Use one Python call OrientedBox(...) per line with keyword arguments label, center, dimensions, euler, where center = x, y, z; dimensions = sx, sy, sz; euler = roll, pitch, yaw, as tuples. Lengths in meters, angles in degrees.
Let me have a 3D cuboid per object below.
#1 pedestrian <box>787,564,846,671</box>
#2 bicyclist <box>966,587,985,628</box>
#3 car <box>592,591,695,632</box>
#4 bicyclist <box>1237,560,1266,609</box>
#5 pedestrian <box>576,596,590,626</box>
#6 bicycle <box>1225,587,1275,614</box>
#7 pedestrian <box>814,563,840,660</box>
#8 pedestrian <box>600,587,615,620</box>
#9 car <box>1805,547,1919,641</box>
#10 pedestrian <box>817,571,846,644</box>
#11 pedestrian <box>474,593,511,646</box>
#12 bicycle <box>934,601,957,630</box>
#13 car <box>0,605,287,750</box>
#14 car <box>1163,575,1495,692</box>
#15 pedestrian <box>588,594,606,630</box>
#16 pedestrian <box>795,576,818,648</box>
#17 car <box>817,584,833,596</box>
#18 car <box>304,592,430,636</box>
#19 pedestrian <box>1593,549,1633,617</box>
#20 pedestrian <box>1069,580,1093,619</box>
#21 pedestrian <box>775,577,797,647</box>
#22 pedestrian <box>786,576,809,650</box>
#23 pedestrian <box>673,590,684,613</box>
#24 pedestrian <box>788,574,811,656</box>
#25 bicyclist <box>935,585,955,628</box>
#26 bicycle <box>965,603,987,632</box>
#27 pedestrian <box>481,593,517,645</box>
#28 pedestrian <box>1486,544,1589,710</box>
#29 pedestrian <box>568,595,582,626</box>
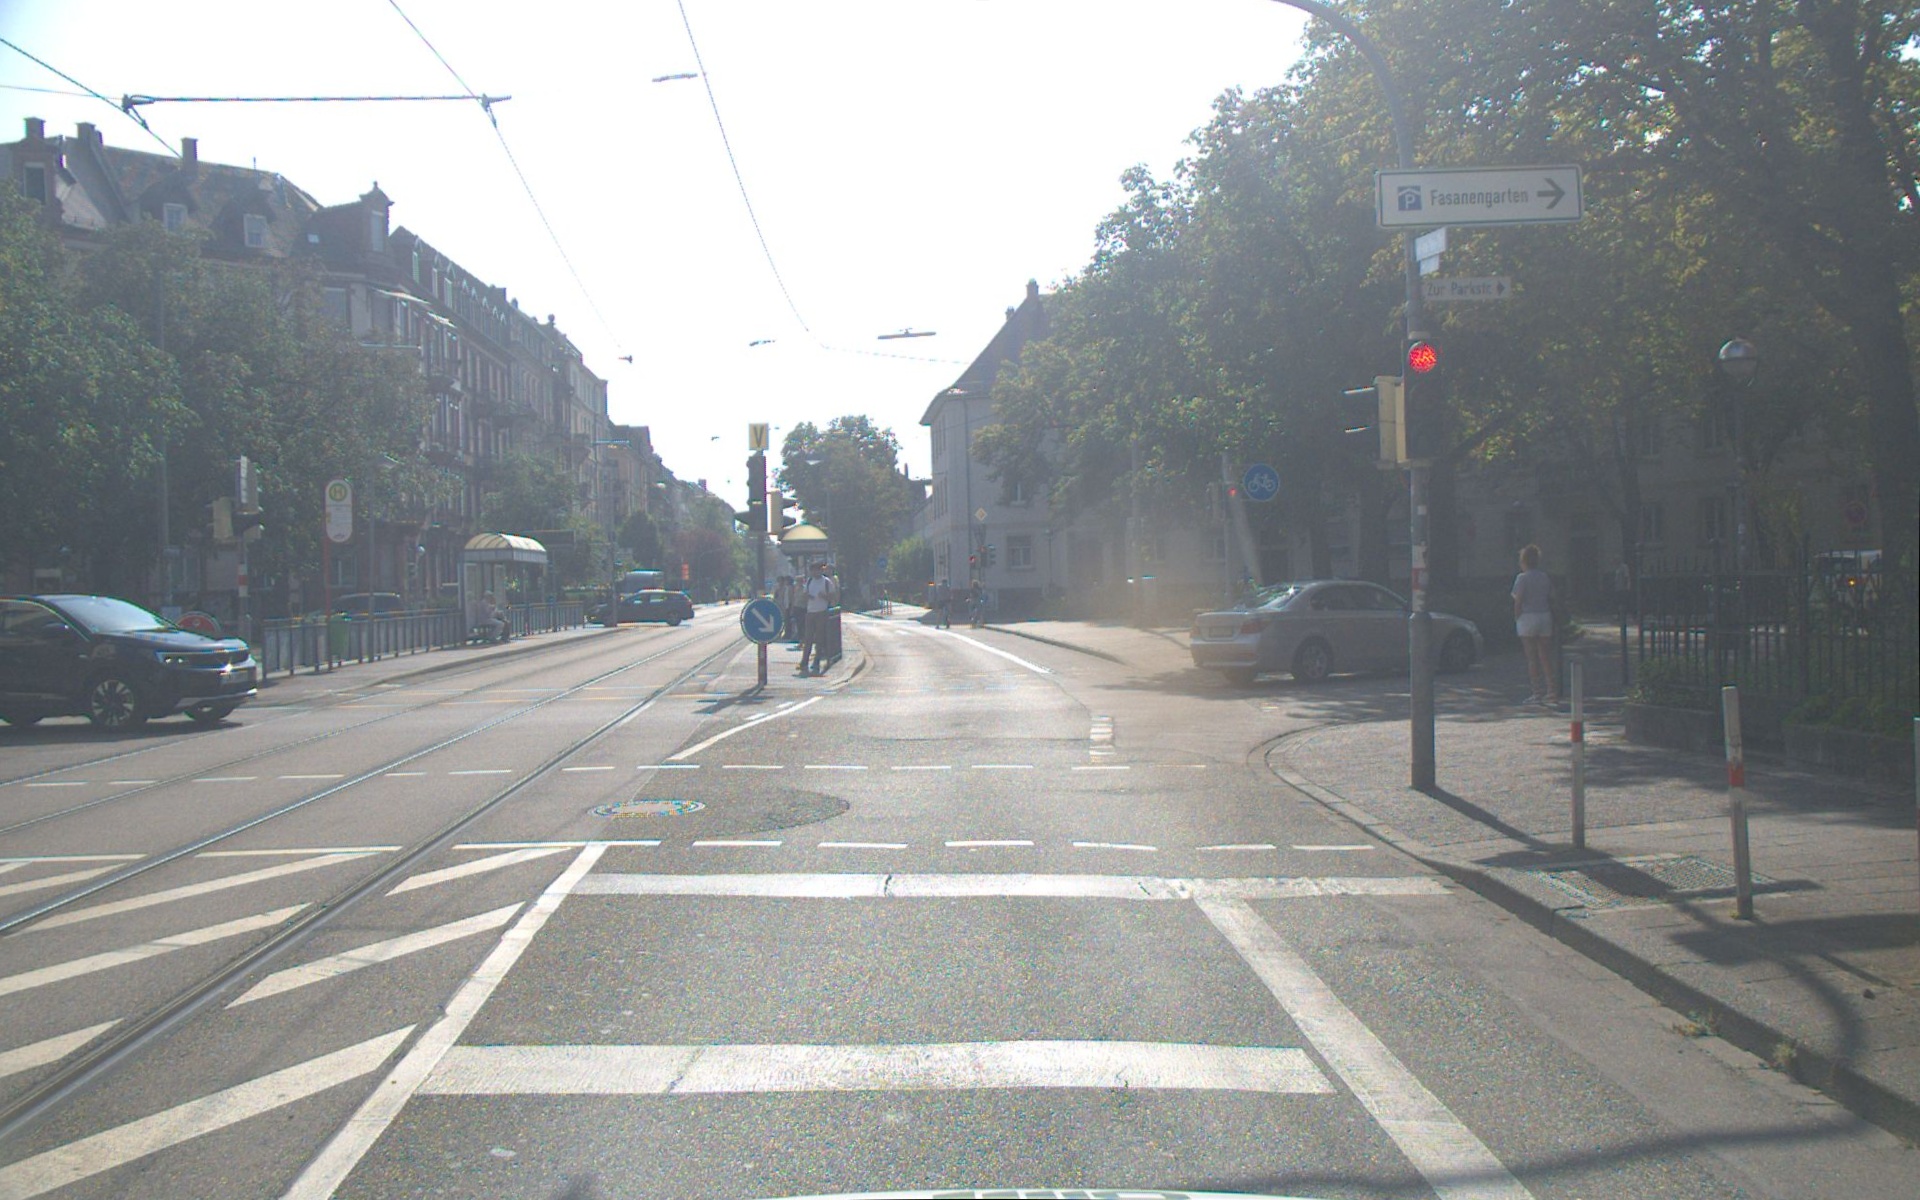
OrientedBox(label="pedestrian", center=(-2.446, 0.282, 28.176), dimensions=(0.686, 1.755, 0.747), euler=(2, 3, 28))
OrientedBox(label="bicyclist", center=(0.551, 0.255, 59.451), dimensions=(0.547, 1.441, 0.870), euler=(-2, 0, -6))
OrientedBox(label="car", center=(-13.567, 0.481, 71.126), dimensions=(4.243, 1.596, 1.995), euler=(-2, 0, -10))
OrientedBox(label="bicyclist", center=(11.530, -0.612, 65.488), dimensions=(0.968, 1.889, 0.492), euler=(-1, 0, 30))
OrientedBox(label="pedestrian", center=(-22.425, 0.637, 98.386), dimensions=(0.737, 1.761, 0.769), euler=(-2, 0, -13))
OrientedBox(label="bicycle", center=(11.491, 0.020, 65.518), dimensions=(1.900, 0.995, 0.495), euler=(-1, 0, 30))
OrientedBox(label="pedestrian", center=(-2.606, 0.211, 32.439), dimensions=(0.494, 1.865, 0.533), euler=(1, 2, -4))
OrientedBox(label="pedestrian", center=(-19.107, 0.209, 89.541), dimensions=(0.737, 1.761, 0.769), euler=(-2, 0, -13))
OrientedBox(label="car", center=(17.325, -0.152, 31.536), dimensions=(1.954, 1.659, 4.329), euler=(-2, 1, 25))
OrientedBox(label="pedestrian", center=(-3.205, 0.181, 41.311), dimensions=(0.695, 1.790, 0.533), euler=(1, 2, -5))
OrientedBox(label="pedestrian", center=(-12.447, 0.518, 44.058), dimensions=(0.812, 1.382, 0.774), euler=(-2, 0, -9))
OrientedBox(label="bicycle", center=(-0.531, 0.569, 59.980), dimensions=(0.617, 0.995, 1.768), euler=(-2, 1, -6))
OrientedBox(label="car", center=(-10.268, 0.898, 19.436), dimensions=(4.124, 1.541, 1.613), euler=(-1, 1, 12))
OrientedBox(label="car", center=(5.490, 0.465, 24.462), dimensions=(4.717, 1.492, 1.853), euler=(-2, -1, -28))
OrientedBox(label="pedestrian", center=(-18.542, 0.608, 84.567), dimensions=(0.735, 1.761, 0.771), euler=(-2, 0, -2))
OrientedBox(label="pedestrian", center=(-3.888, 0.309, 41.880), dimensions=(0.532, 1.790, 0.533), euler=(1, 2, -4))
OrientedBox(label="car", center=(-21.151, -1.532, 259.124), dimensions=(1.952, 1.814, 4.001), euler=(-1, 0, 2))
OrientedBox(label="car", center=(-23.645, 0.546, 65.994), dimensions=(4.298, 1.596, 1.970), euler=(-2, 0, -41))
OrientedBox(label="pedestrian", center=(17.484, -0.458, 44.273), dimensions=(0.872, 1.770, 0.777), euler=(-2, 0, 15))
OrientedBox(label="pedestrian", center=(5.627, -0.038, 76.846), dimensions=(0.873, 1.770, 0.776), euler=(-1, 0, 24))
OrientedBox(label="pedestrian", center=(-4.543, 0.308, 43.251), dimensions=(0.521, 1.790, 0.544), euler=(1, 2, -3))
OrientedBox(label="pedestrian", center=(-4.034, 0.320, 41.058), dimensions=(0.532, 1.790, 0.533), euler=(1, 2, -4))
OrientedBox(label="pedestrian", center=(-22.575, 0.118, 132.570), dimensions=(0.737, 1.761, 0.769), euler=(-2, 0, -13))
OrientedBox(label="pedestrian", center=(-3.596, 0.326, 37.075), dimensions=(0.494, 1.790, 0.533), euler=(1, 2, -4))
OrientedBox(label="bicyclist", center=(-0.534, 0.230, 59.976), dimensions=(0.617, 1.534, 0.678), euler=(-2, 0, -6))
OrientedBox(label="bicycle", center=(0.569, 0.623, 59.439), dimensions=(0.547, 0.995, 1.854), euler=(-2, 1, -6))
OrientedBox(label="pedestrian", center=(-12.545, 0.515, 45.030), dimensions=(0.812, 1.382, 0.774), euler=(-2, 0, -9))
OrientedBox(label="pedestrian", center=(6.365, 0.286, 18.247), dimensions=(0.737, 1.761, 0.769), euler=(-2, 0, -13))
OrientedBox(label="pedestrian", center=(-22.081, 0.614, 94.975), dimensions=(0.737, 1.761, 0.769), euler=(-2, 0, -13))
